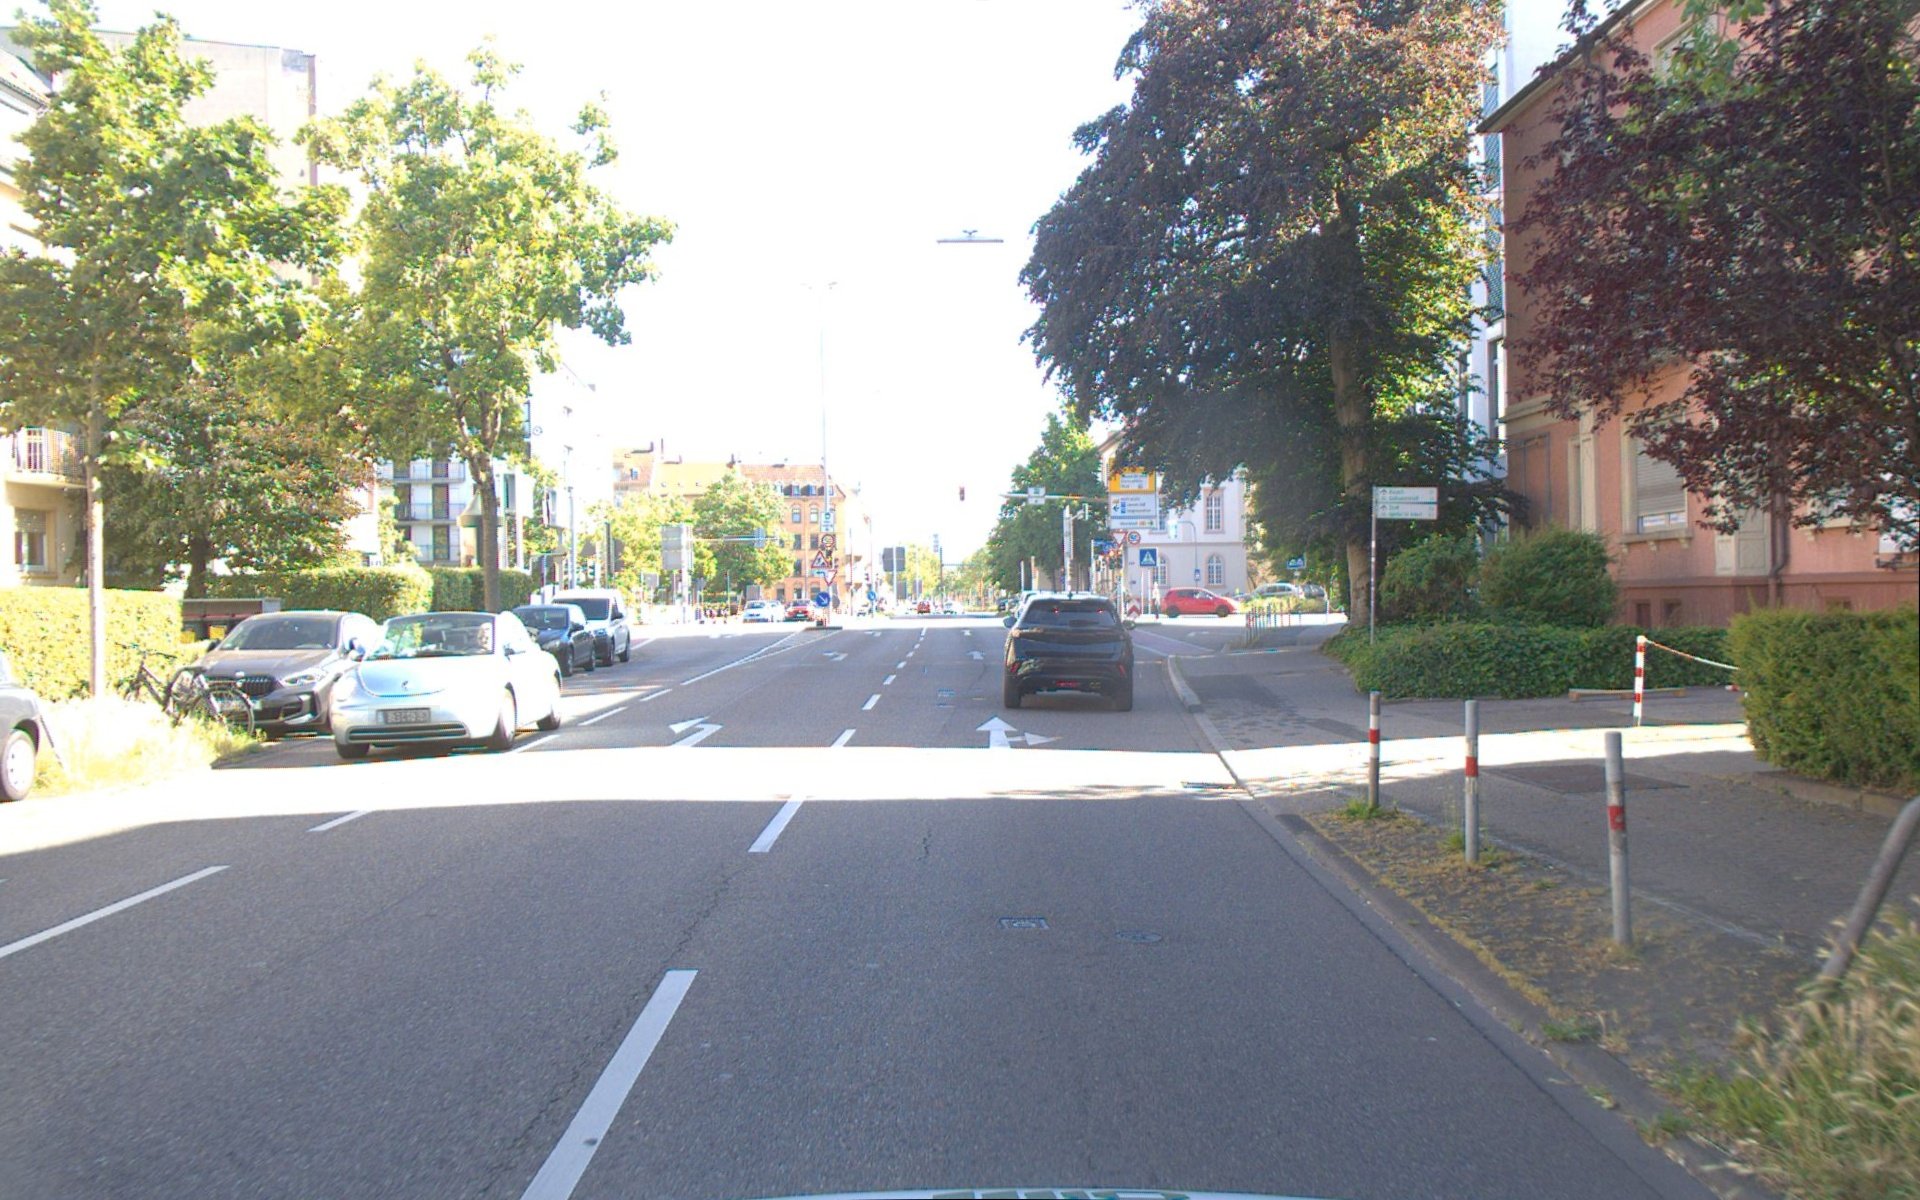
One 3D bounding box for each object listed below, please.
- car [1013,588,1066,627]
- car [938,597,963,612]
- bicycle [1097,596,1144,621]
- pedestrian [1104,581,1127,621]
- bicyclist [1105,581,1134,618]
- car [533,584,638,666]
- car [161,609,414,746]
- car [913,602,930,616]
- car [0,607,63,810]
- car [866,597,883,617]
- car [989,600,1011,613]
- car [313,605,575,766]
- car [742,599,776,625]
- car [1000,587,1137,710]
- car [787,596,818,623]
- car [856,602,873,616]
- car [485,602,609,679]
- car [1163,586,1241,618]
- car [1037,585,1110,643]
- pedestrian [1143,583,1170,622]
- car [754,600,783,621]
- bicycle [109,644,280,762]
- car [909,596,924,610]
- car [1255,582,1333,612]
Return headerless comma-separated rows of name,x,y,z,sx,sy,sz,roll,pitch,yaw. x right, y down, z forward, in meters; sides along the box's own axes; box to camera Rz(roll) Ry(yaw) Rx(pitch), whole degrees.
car,3.123,0.267,65.699,1.793,1.478,3.987,-1,0,-1
car,-1.092,0.572,199.481,2.129,1.728,4.004,-1,0,13
bicycle,7.270,0.377,74.922,1.999,1.079,0.619,-1,0,-17
pedestrian,6.838,0.042,72.585,0.810,1.731,0.916,-1,0,-7
bicyclist,7.229,-0.032,74.896,1.146,1.662,0.726,0,0,-16
car,-9.118,0.568,40.620,1.783,1.866,4.559,-1,0,-4
car,-8.273,0.885,20.776,1.733,1.433,4.361,-1,1,-5
car,-4.296,0.975,185.525,1.773,1.431,3.999,-1,0,-1
car,-8.187,0.849,11.974,1.642,1.552,3.655,1,1,-5
car,-9.785,0.753,188.900,1.774,2.172,3.999,-1,0,-2
car,5.287,0.851,218.060,1.821,1.689,4.002,1,0,16
car,-5.412,0.826,17.858,1.703,1.405,3.935,-3,1,-3
car,-13.534,0.793,111.437,1.837,1.645,3.999,-1,0,-2
car,1.451,0.625,23.289,1.709,1.601,3.558,0,0,0
car,-10.431,0.617,109.704,1.755,1.645,3.999,-1,0,-1
car,-11.382,1.064,196.537,1.837,1.473,3.999,-1,0,-2
car,-8.744,0.824,35.326,1.637,1.482,4.110,-1,0,-1
car,12.143,0.110,83.028,3.790,1.478,1.779,-1,0,9
car,3.314,0.389,48.870,1.793,1.606,3.838,-1,0,-1
pedestrian,8.744,0.090,73.587,1.021,1.689,0.783,-2,0,-6
car,-14.425,0.772,124.787,1.837,1.473,3.999,-1,0,-2
bicycle,-8.131,1.087,17.596,1.513,1.154,0.548,-2,0,-3
car,-5.463,0.374,207.492,1.774,1.662,3.999,-1,0,-2
car,19.292,-0.163,95.581,4.037,1.629,1.819,-2,0,-8
